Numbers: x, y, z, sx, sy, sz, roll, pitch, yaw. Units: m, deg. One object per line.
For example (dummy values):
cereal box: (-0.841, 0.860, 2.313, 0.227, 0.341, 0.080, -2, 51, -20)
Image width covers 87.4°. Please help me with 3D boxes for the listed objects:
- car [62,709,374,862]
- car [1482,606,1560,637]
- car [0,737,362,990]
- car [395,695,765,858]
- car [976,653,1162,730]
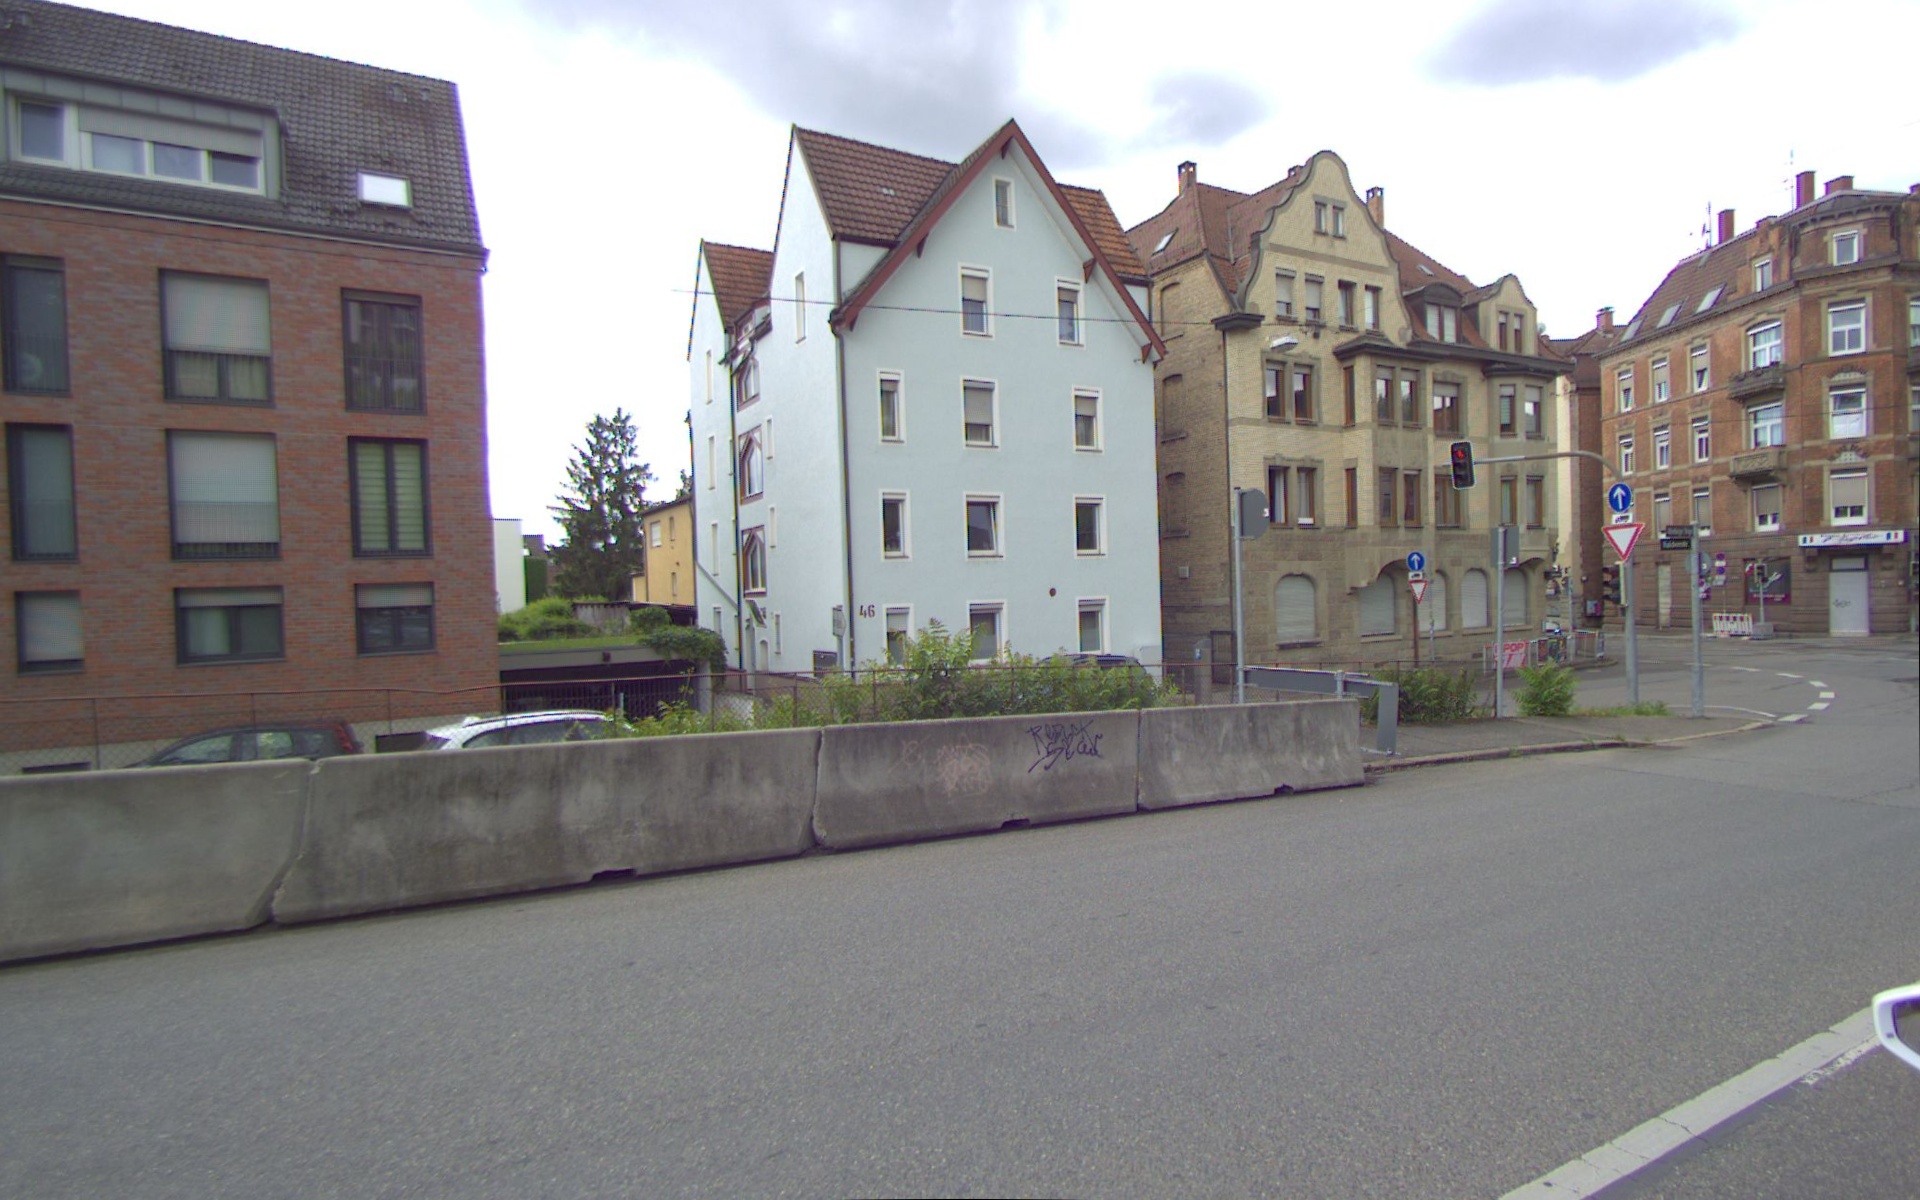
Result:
car: (-11.360, 2.775, 15.736, 3.722, 1.825, 1.706, 1, 0, -30)
car: (27.783, 1.053, 49.894, 1.643, 1.487, 3.640, 0, 0, -5)
car: (-7.202, 2.104, 8.206, 3.956, 1.534, 1.526, 1, 0, -33)
car: (-4.994, 2.186, 13.350, 4.371, 1.534, 1.819, 1, 0, -30)
car: (2.579, 2.080, 23.518, 4.185, 1.575, 1.674, 1, -3, -31)
